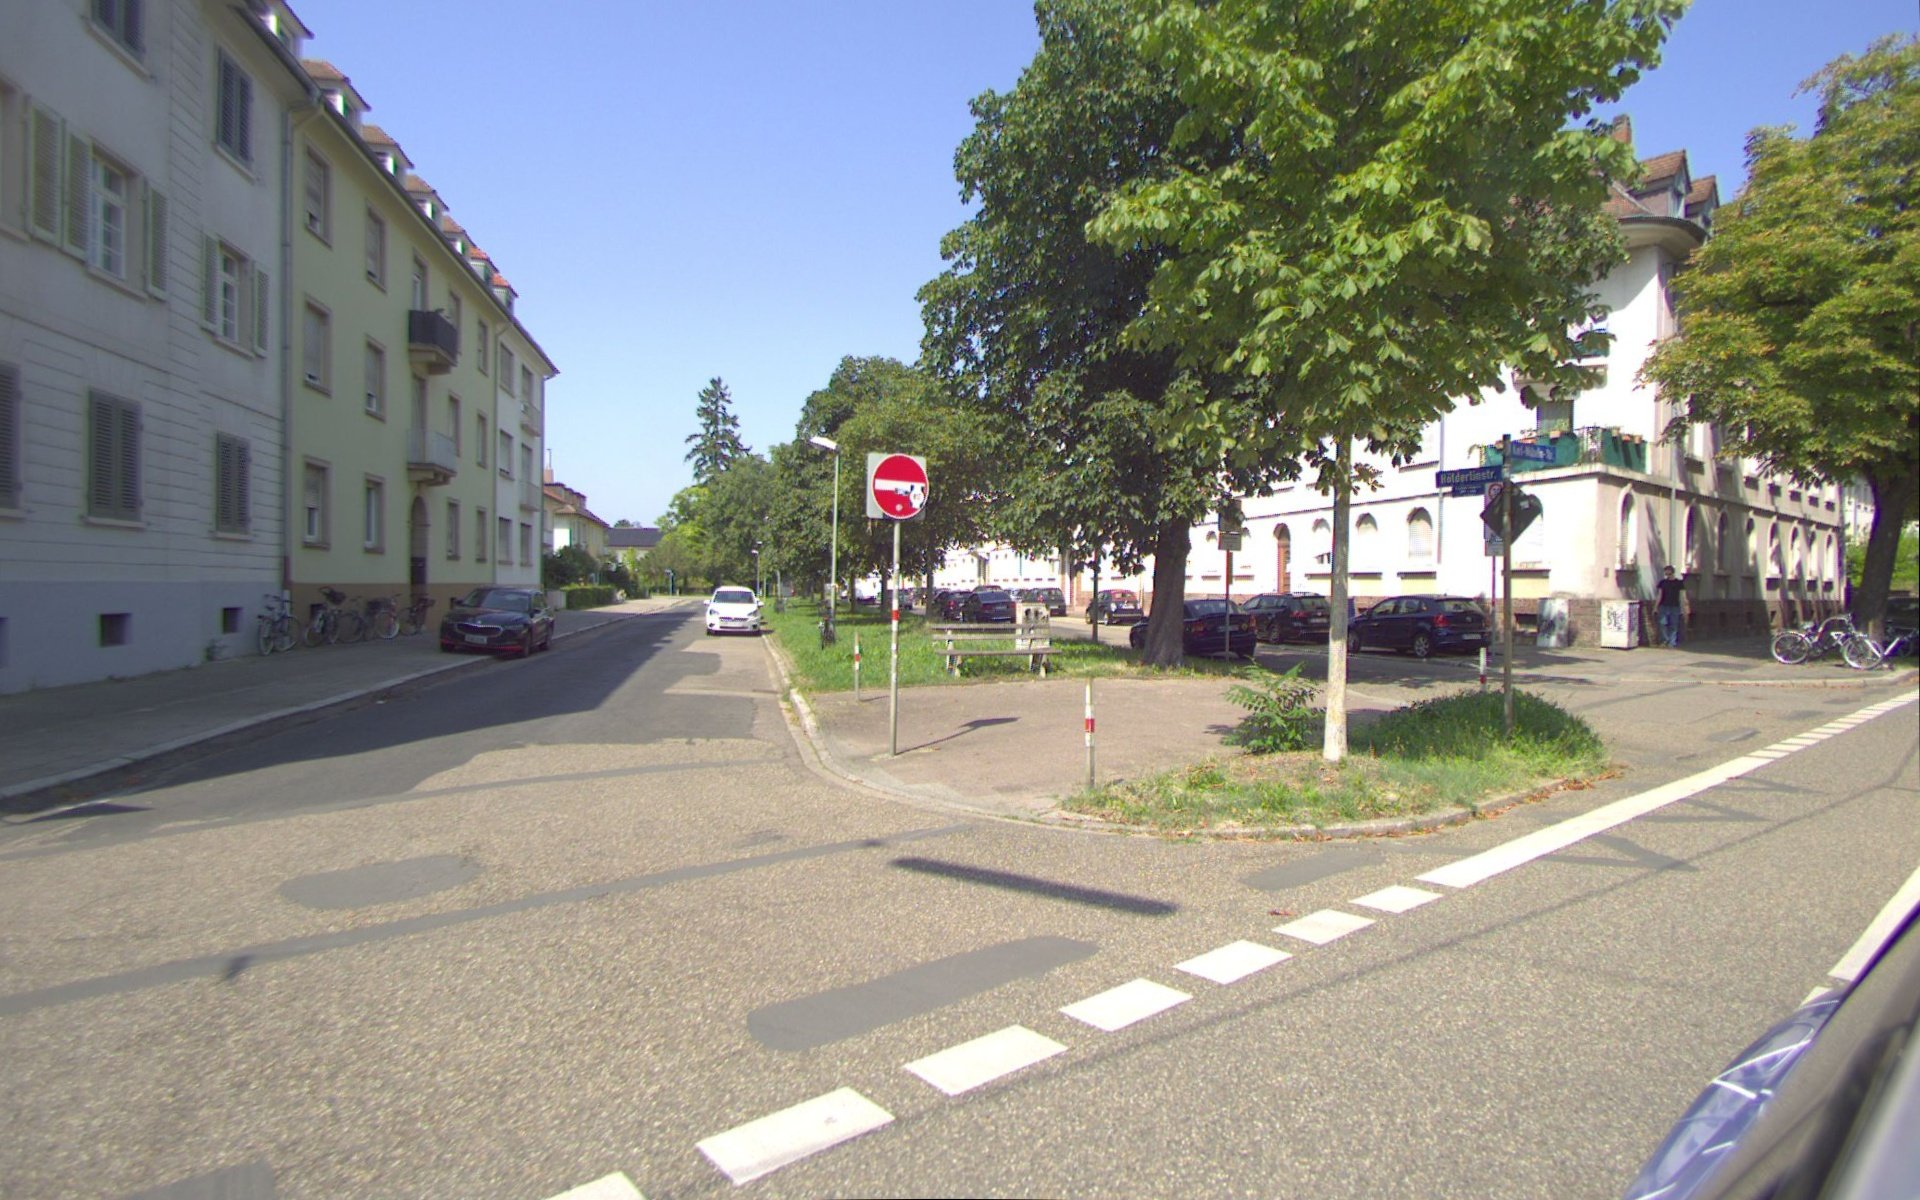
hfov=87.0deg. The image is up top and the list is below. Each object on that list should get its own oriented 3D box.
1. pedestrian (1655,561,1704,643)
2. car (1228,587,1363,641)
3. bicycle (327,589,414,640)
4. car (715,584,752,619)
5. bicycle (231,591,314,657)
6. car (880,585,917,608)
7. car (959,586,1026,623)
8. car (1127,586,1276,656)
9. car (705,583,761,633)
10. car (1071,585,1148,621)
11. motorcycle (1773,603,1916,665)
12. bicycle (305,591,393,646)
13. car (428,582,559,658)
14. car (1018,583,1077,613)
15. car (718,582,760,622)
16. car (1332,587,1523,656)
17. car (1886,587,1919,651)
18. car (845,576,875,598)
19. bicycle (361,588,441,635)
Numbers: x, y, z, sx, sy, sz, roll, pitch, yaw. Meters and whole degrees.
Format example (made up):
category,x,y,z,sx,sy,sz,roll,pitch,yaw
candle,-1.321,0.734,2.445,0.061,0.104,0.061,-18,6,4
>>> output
category,x,y,z,sx,sy,sz,roll,pitch,yaw
pedestrian,16.171,0.038,22.735,0.621,1.808,0.749,0,0,-39
car,9.651,0.357,29.479,1.934,1.457,4.008,0,1,-12
bicycle,-13.892,0.315,23.925,0.449,1.130,2.206,0,1,10
car,-10.283,0.025,46.050,1.565,1.497,4.008,0,1,-12
bicycle,-12.861,0.415,19.013,0.446,1.130,2.217,0,1,-11
car,-4.099,-0.270,66.654,1.799,1.448,4.008,0,1,-12
car,1.290,0.143,42.219,1.799,1.448,4.286,0,1,-12
car,5.466,0.424,23.465,1.799,1.448,4.008,0,1,-12
car,-7.322,0.220,32.688,1.653,1.497,4.008,0,1,-12
car,6.295,0.098,43.144,1.934,1.457,4.008,0,1,-12
motorcycle,17.560,0.645,20.144,0.782,1.027,2.000,0,4,-39
bicycle,-13.486,0.379,22.398,0.448,1.130,2.210,0,1,5
car,-10.546,0.374,23.221,1.841,1.560,4.338,0,1,-12
car,4.533,-0.129,53.075,1.934,1.457,4.008,0,1,-12
car,-8.873,0.053,40.593,1.565,1.497,4.008,0,1,-12
car,10.902,0.434,23.948,1.933,1.461,4.009,0,1,-17
car,24.611,0.444,25.300,3.979,1.516,1.598,0,1,-39
car,-8.263,-1.051,83.564,2.001,1.758,4.008,0,1,-12
bicycle,-14.243,0.277,25.855,0.449,1.130,2.205,0,1,12
